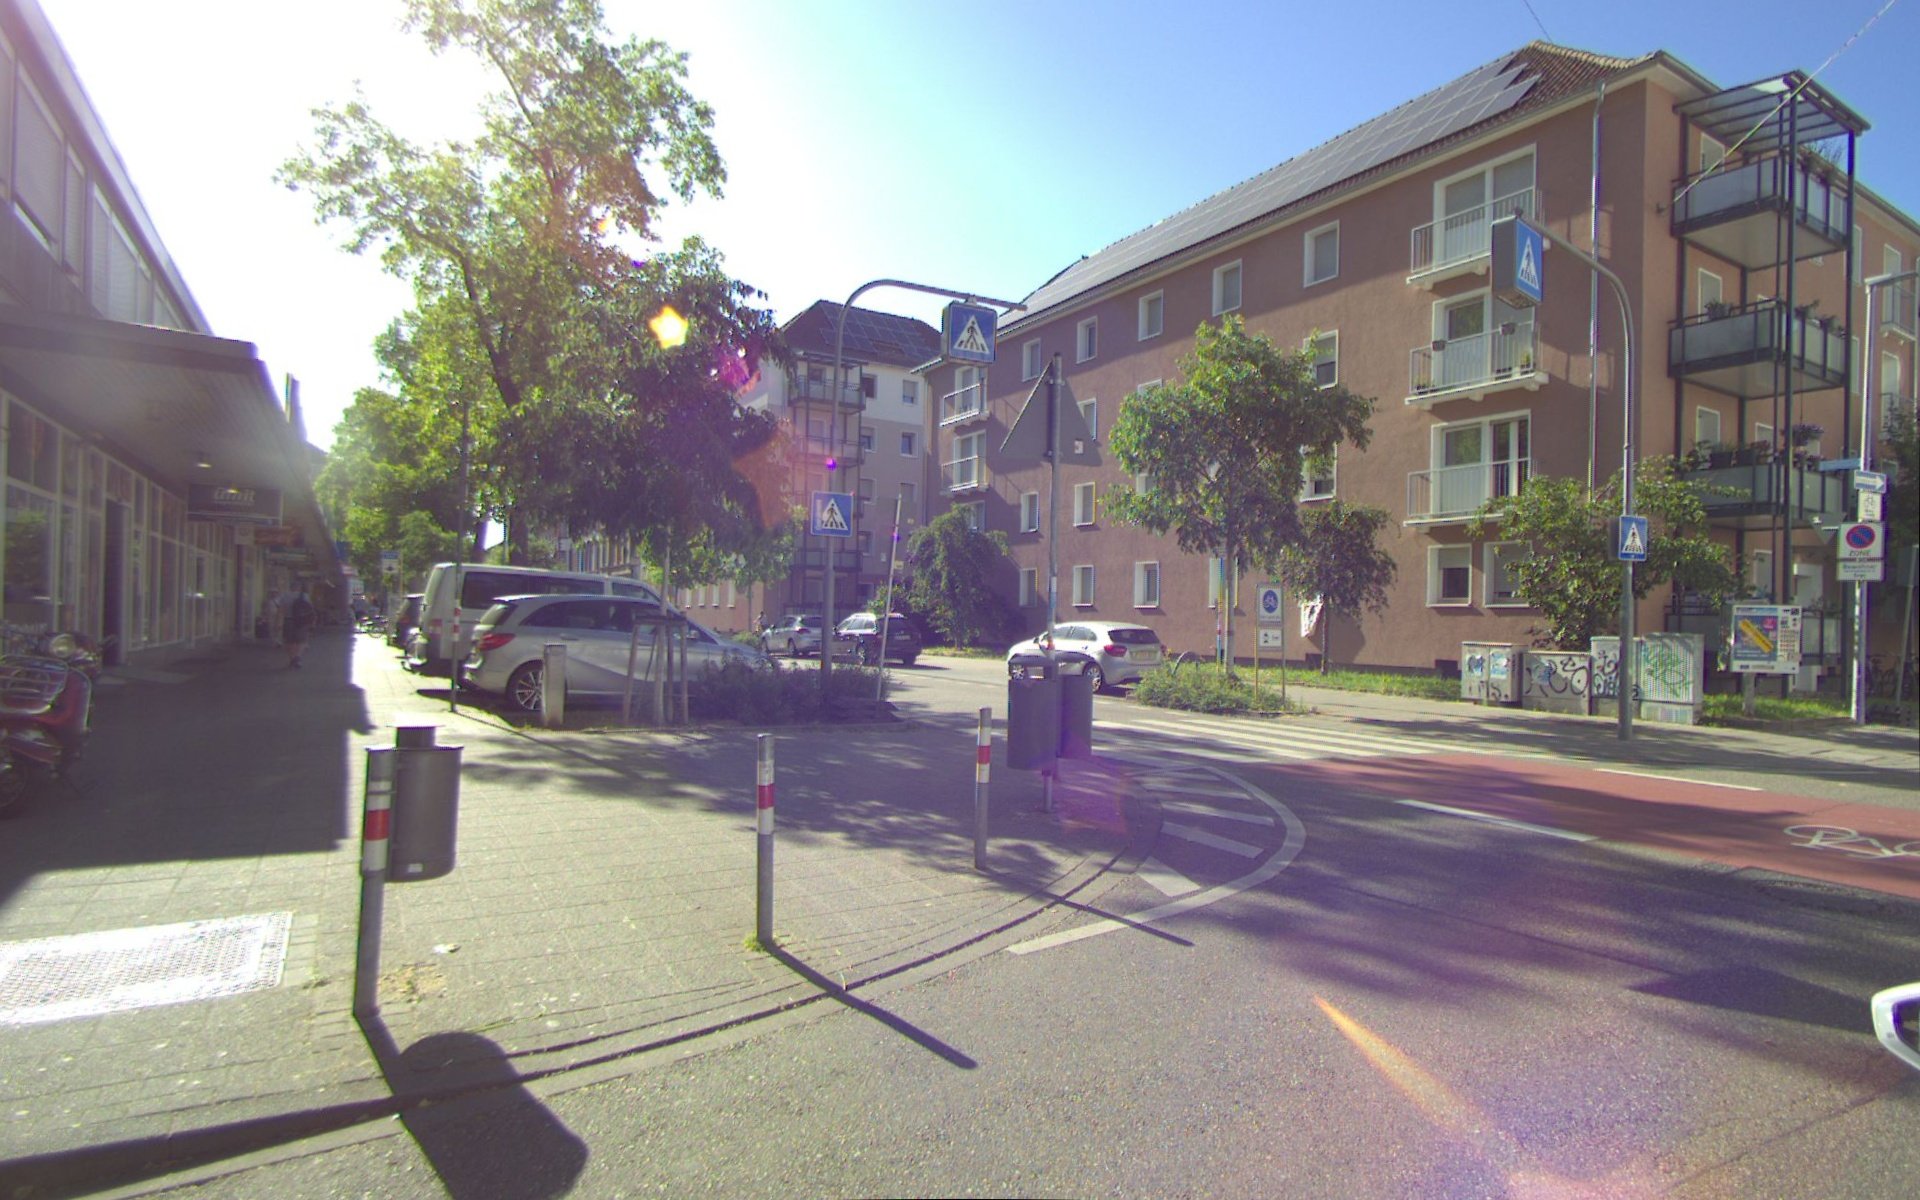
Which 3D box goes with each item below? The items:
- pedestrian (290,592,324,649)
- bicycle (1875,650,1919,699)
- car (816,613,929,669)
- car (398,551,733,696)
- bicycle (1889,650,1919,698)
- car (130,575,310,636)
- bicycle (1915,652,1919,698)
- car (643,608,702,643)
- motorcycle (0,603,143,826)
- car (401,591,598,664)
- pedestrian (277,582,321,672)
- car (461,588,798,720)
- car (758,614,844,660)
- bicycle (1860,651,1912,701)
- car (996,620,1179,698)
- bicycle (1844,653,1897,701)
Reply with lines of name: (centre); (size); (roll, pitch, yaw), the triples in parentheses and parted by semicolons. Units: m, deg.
pedestrian: (-17.990, 0.570, 27.692); (0.681, 1.542, 0.528); (3, -1, -30)
bicycle: (22.050, 1.728, 23.541); (0.248, 1.085, 1.217); (1, -1, 8)
car: (-2.729, 1.203, 30.499); (1.768, 1.539, 4.274); (2, -1, -30)
car: (-6.311, 0.459, 16.292); (4.696, 2.032, 1.942); (4, -2, -34)
bicycle: (22.350, 1.733, 23.498); (0.248, 1.086, 1.217); (1, -1, 8)
car: (-27.120, 0.246, 37.068); (5.173, 2.007, 1.647); (2, -1, -33)
bicycle: (22.625, 1.762, 23.142); (0.248, 1.086, 1.220); (1, -1, 8)
car: (-13.307, 1.158, 46.351); (1.725, 1.539, 3.827); (2, -1, -30)
motorcycle: (-5.868, 0.648, 6.444); (0.662, 1.196, 1.906); (2, 1, -30)
car: (-12.333, 0.769, 26.989); (4.591, 1.828, 1.821); (2, -2, -33)
pedestrian: (-12.695, 0.513, 19.305); (0.560, 1.688, 0.707); (3, -1, -29)
car: (-4.637, 0.731, 14.317); (4.257, 1.634, 1.743); (2, -1, -33)
car: (-5.719, 1.286, 35.823); (1.725, 1.539, 3.827); (2, -1, -30)
bicycle: (21.726, 1.767, 23.586); (0.261, 1.086, 1.217); (1, -1, 8)
car: (2.635, 1.193, 21.658); (1.726, 1.473, 4.120); (2, -1, -31)
bicycle: (21.411, 1.797, 23.634); (0.285, 1.049, 1.217); (1, -1, 8)
